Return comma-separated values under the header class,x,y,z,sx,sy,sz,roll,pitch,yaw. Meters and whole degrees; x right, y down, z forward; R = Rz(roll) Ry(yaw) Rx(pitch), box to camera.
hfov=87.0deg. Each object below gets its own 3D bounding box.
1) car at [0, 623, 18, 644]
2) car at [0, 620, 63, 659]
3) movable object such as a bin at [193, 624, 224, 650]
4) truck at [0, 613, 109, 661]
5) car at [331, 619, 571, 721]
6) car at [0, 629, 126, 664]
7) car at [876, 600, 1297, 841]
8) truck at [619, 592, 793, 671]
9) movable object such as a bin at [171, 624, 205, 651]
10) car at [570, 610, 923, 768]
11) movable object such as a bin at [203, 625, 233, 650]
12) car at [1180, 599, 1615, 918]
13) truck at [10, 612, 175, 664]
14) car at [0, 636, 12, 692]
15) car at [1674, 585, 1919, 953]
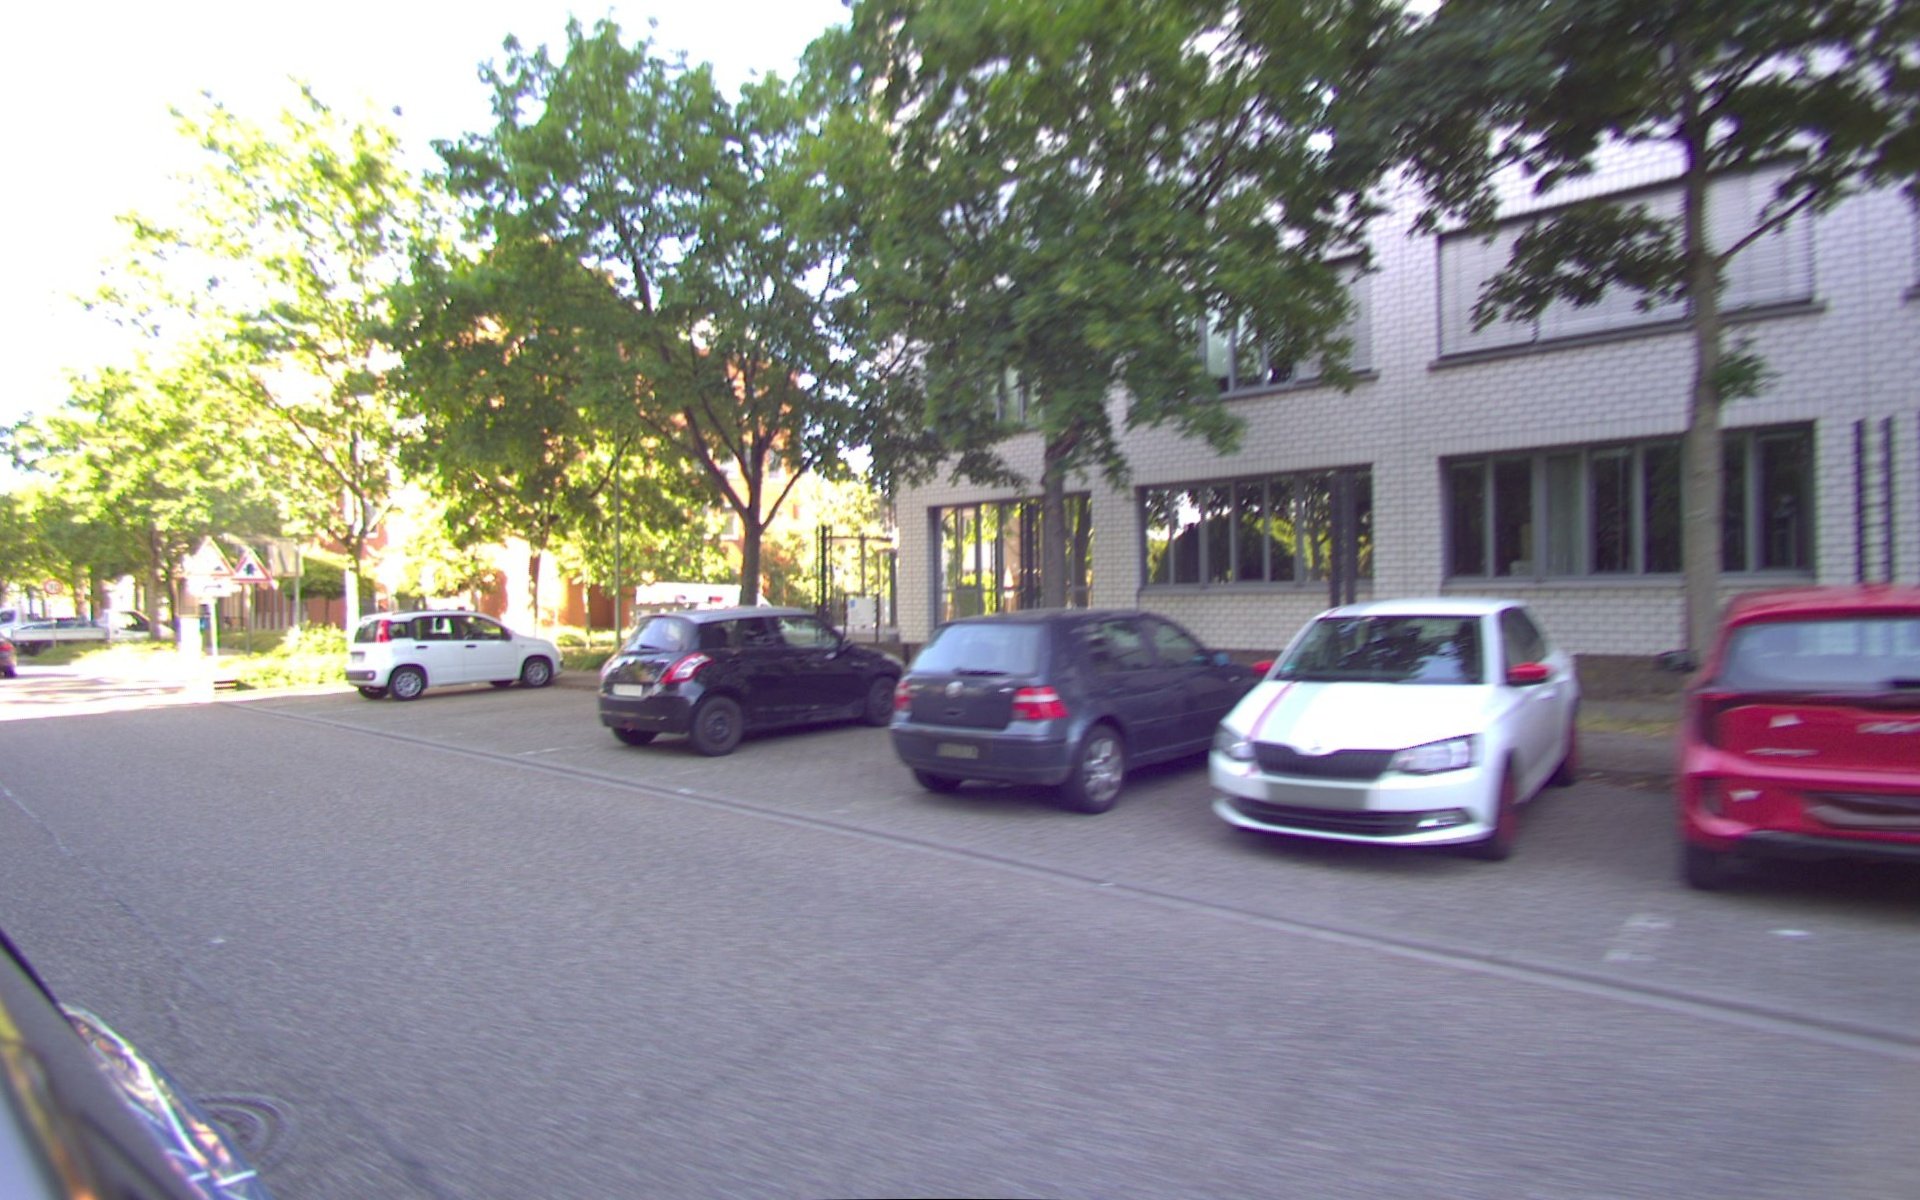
class,x,y,z,sx,sy,sz,roll,pitch,yaw
car,-70.640,2.496,73.046,1.753,1.463,3.717,-3,0,40
car,-53.973,2.269,57.352,1.998,2.067,4.437,-2,0,39
movable object such as a bin,-48.230,2.388,64.937,1.436,1.632,1.137,-2,-2,29
truck,-49.617,1.956,54.070,2.187,2.440,6.166,-2,-1,42
car,-9.157,1.171,18.410,1.636,1.561,3.545,1,1,39
car,-44.927,2.320,50.767,1.888,1.453,4.496,-3,-1,40
car,1.227,0.782,8.413,1.631,1.456,3.722,-2,0,42
truck,-9.469,1.171,38.164,2.575,2.725,6.043,-2,-2,39
movable object such as a bin,-52.140,2.529,68.384,1.664,1.810,1.581,-2,-2,43
car,-2.284,0.869,11.516,1.675,1.475,3.694,-2,-1,40
movable object such as a bin,-47.099,2.370,64.273,1.239,1.575,1.137,-2,-2,29
car,3.199,0.804,6.934,1.752,1.468,3.829,-4,-1,38
truck,-35.147,1.493,41.103,2.138,1.974,4.930,-2,-1,43
car,-26.366,1.686,26.746,1.792,1.426,4.109,0,-1,-45
car,4.994,0.688,5.523,1.693,1.474,3.388,-3,-1,36
